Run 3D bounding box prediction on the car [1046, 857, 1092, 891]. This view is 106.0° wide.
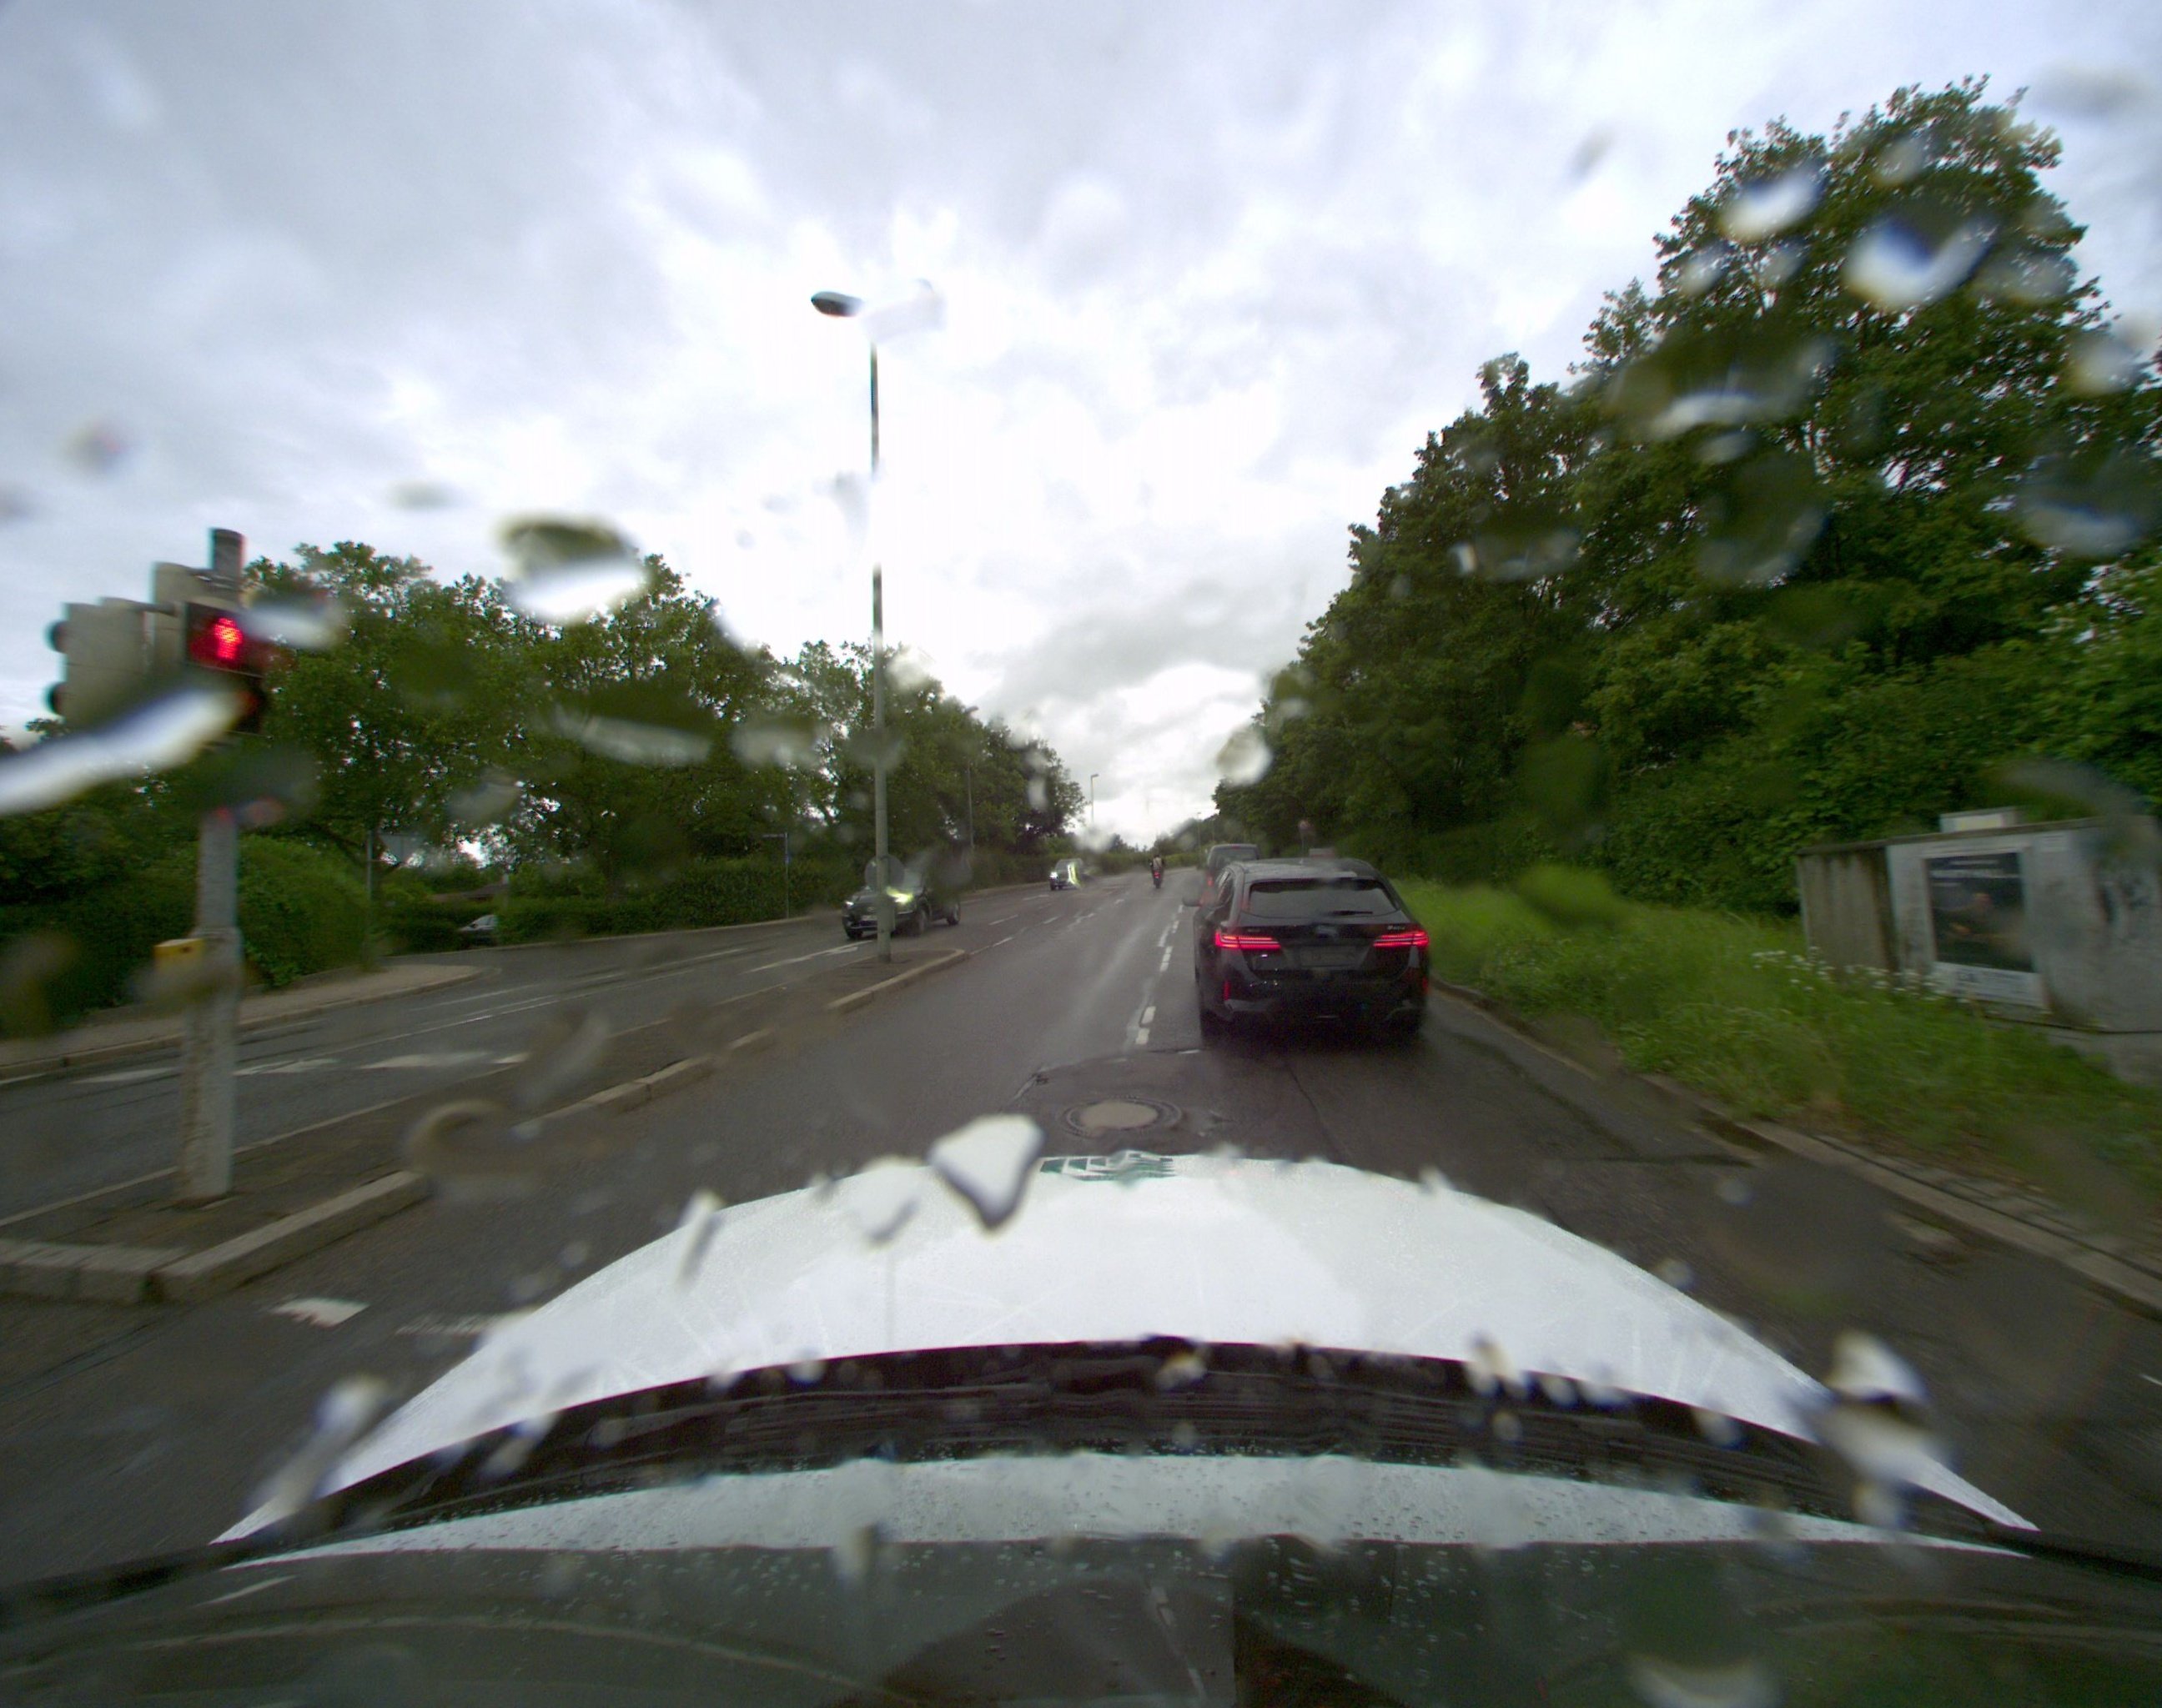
[{"bbox_3d":[-0.592,1.032,43.564,1.785,1.603,3.739,-4,-1,7],"label":"car"}]

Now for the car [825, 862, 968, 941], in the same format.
[{"bbox_3d":[-4.295,1.058,19.660,2.014,1.563,3.886,-4,-1,8],"label":"car"}]

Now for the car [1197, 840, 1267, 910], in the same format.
[{"bbox_3d":[4.315,0.531,23.545,1.756,1.810,3.915,-2,1,9],"label":"car"}]

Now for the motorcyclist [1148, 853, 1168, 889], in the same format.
[{"bbox_3d":[3.665,0.810,38.861,0.840,1.647,0.469,-3,0,8],"label":"motorcyclist"}]

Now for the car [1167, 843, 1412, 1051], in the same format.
[{"bbox_3d":[1.844,0.709,7.963,1.754,1.536,3.682,-2,0,9],"label":"car"}]

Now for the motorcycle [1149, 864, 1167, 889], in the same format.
[{"bbox_3d":[3.698,1.078,39.020,0.737,1.119,1.430,-2,1,9],"label":"motorcycle"}]
